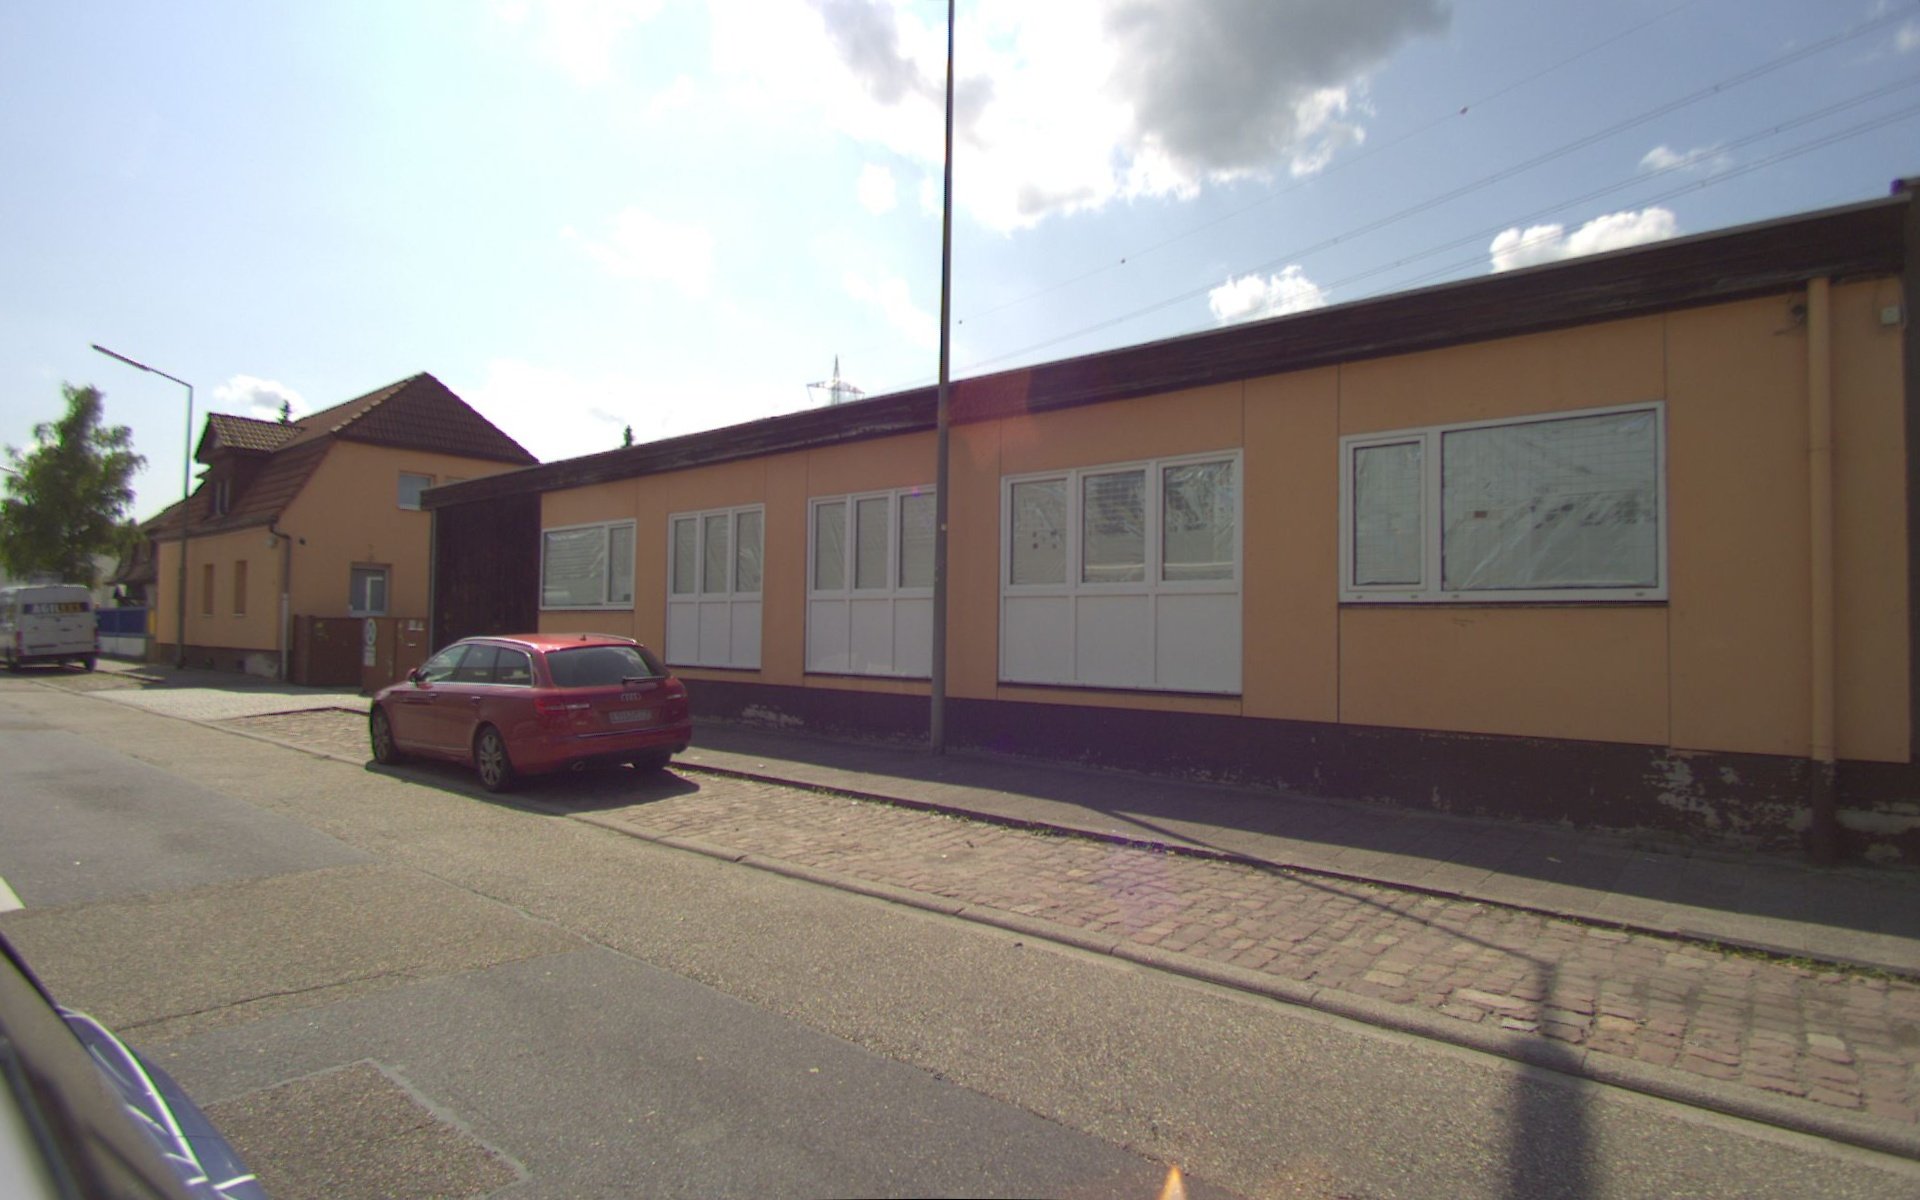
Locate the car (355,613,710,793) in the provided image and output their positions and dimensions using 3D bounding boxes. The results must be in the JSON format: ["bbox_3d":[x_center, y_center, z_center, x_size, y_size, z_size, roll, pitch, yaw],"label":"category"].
[{"bbox_3d":[-4.726,0.905,10.801,4.628,1.478,1.692,0,0,42],"label":"car"}]

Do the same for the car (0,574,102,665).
[{"bbox_3d":[-28.477,0.550,31.344,5.821,2.561,2.052,0,0,41],"label":"car"}]

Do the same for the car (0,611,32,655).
[{"bbox_3d":[-34.452,1.161,36.058,3.714,1.502,1.636,0,0,41],"label":"car"}]
